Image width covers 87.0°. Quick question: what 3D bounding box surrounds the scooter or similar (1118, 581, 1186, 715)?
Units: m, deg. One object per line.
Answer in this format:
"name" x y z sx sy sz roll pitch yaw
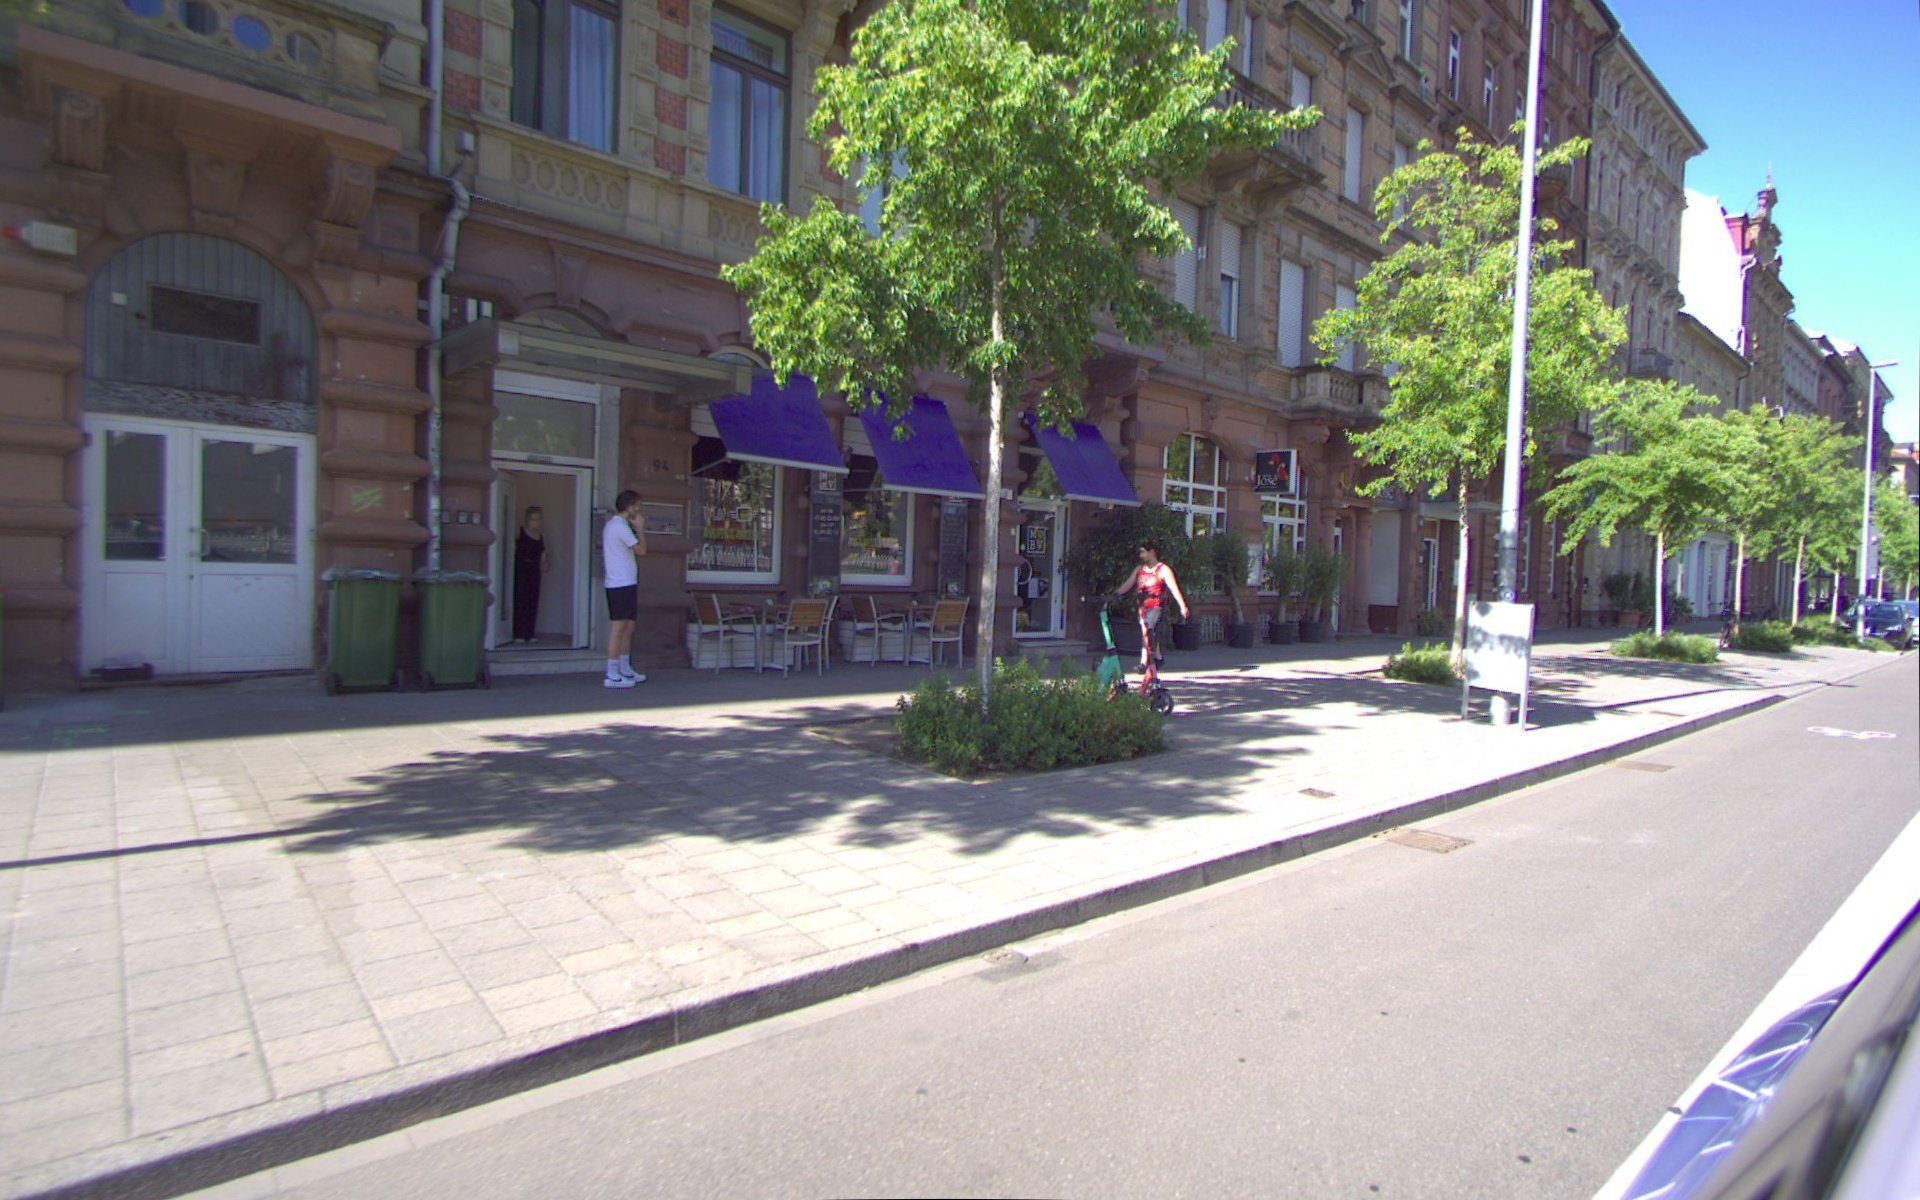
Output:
"scooter or similar" 1.843 0.444 9.772 0.320 1.235 0.676 1 1 -18

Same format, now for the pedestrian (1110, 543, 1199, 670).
"pedestrian" 2.587 0.066 13.480 0.794 1.603 0.753 0 4 -41

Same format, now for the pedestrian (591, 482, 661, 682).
"pedestrian" -3.238 -0.172 9.798 0.491 1.872 0.513 1 1 -33

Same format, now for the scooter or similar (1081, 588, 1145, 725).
"scooter or similar" 1.389 0.495 9.226 0.283 1.187 0.640 1 1 -18

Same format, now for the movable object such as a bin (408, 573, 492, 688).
"movable object such as a bin" -4.599 0.252 9.122 0.576 0.986 0.693 0 1 -36

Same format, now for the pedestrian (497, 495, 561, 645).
"pedestrian" -5.133 -0.358 12.049 0.512 1.718 0.640 1 1 -39

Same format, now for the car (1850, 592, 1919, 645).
"car" 29.993 0.540 32.493 3.684 1.603 1.668 -1 0 -41

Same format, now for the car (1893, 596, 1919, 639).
"car" 34.931 0.597 36.348 3.684 1.480 1.668 -1 0 -41

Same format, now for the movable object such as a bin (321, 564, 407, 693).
"movable object such as a bin" -5.135 0.218 8.711 0.576 1.025 0.693 0 4 -36

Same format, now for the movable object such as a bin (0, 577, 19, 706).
"movable object such as a bin" -7.081 0.289 7.209 0.467 0.876 0.607 0 4 -36
